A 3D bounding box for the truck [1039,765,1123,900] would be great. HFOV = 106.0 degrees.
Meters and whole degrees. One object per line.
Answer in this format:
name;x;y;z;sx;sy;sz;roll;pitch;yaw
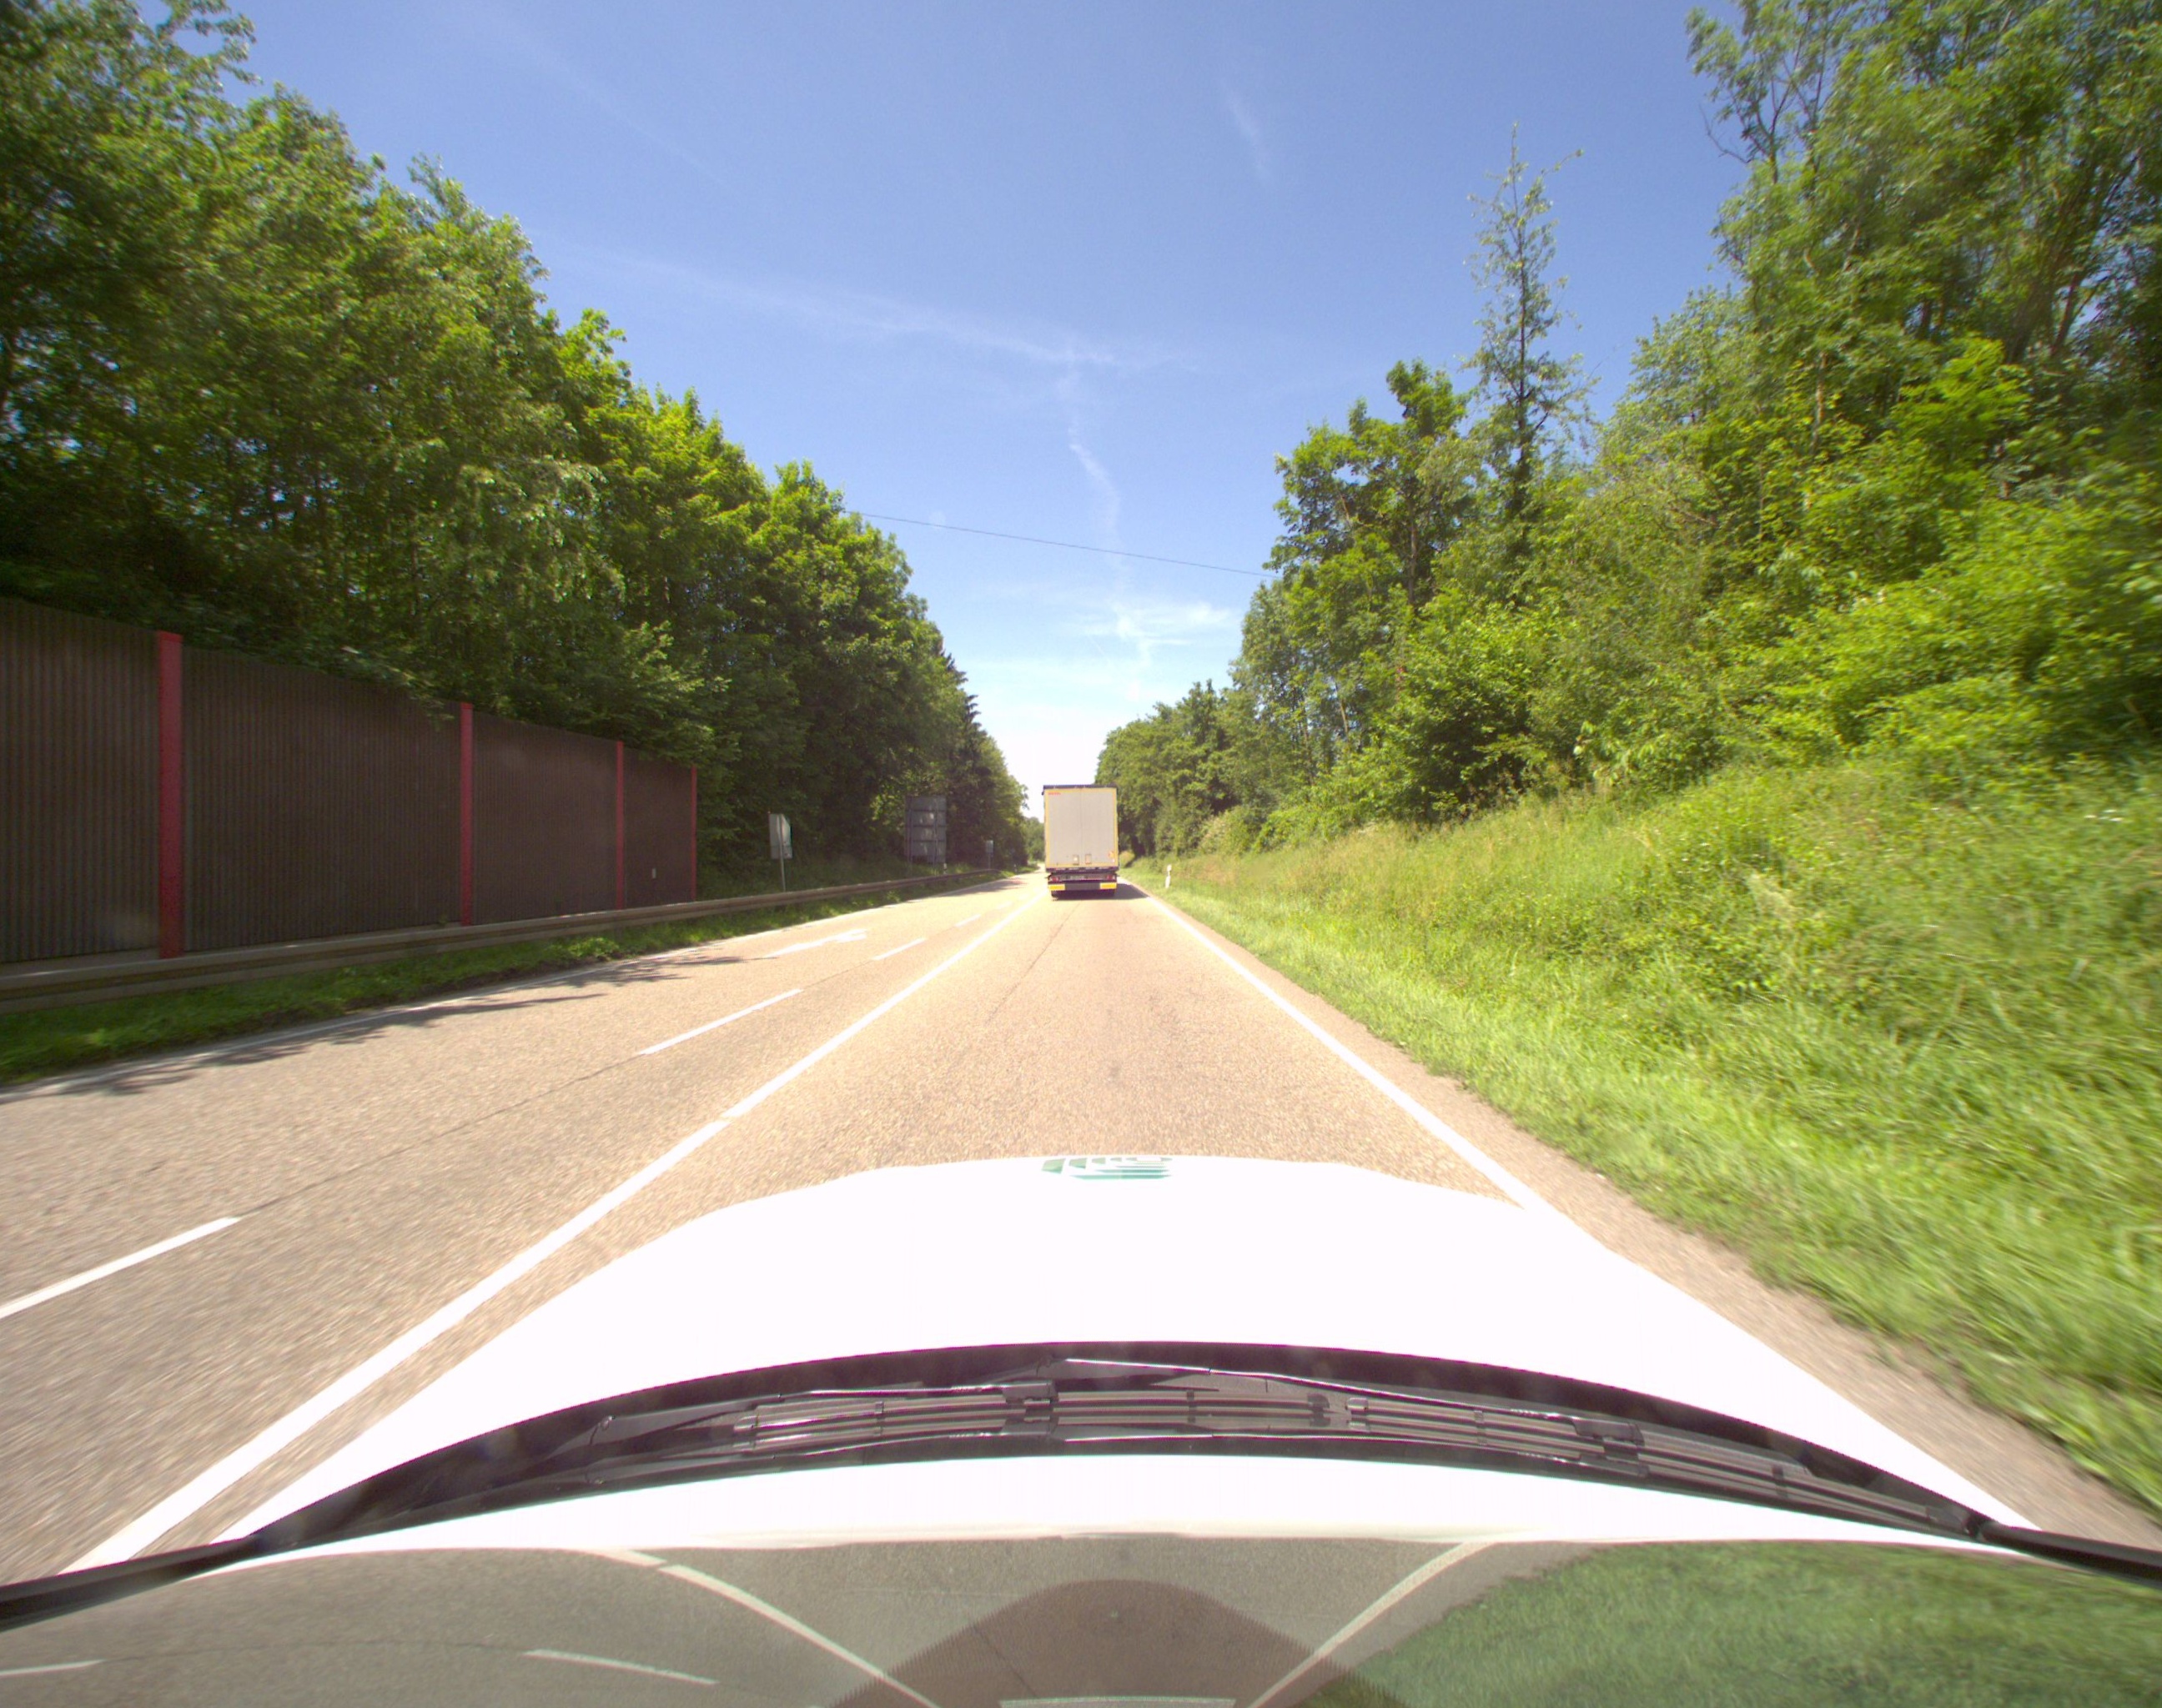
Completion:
truck;0.057;-0.777;31.236;2.812;4.603;6.667;-1;1;1
